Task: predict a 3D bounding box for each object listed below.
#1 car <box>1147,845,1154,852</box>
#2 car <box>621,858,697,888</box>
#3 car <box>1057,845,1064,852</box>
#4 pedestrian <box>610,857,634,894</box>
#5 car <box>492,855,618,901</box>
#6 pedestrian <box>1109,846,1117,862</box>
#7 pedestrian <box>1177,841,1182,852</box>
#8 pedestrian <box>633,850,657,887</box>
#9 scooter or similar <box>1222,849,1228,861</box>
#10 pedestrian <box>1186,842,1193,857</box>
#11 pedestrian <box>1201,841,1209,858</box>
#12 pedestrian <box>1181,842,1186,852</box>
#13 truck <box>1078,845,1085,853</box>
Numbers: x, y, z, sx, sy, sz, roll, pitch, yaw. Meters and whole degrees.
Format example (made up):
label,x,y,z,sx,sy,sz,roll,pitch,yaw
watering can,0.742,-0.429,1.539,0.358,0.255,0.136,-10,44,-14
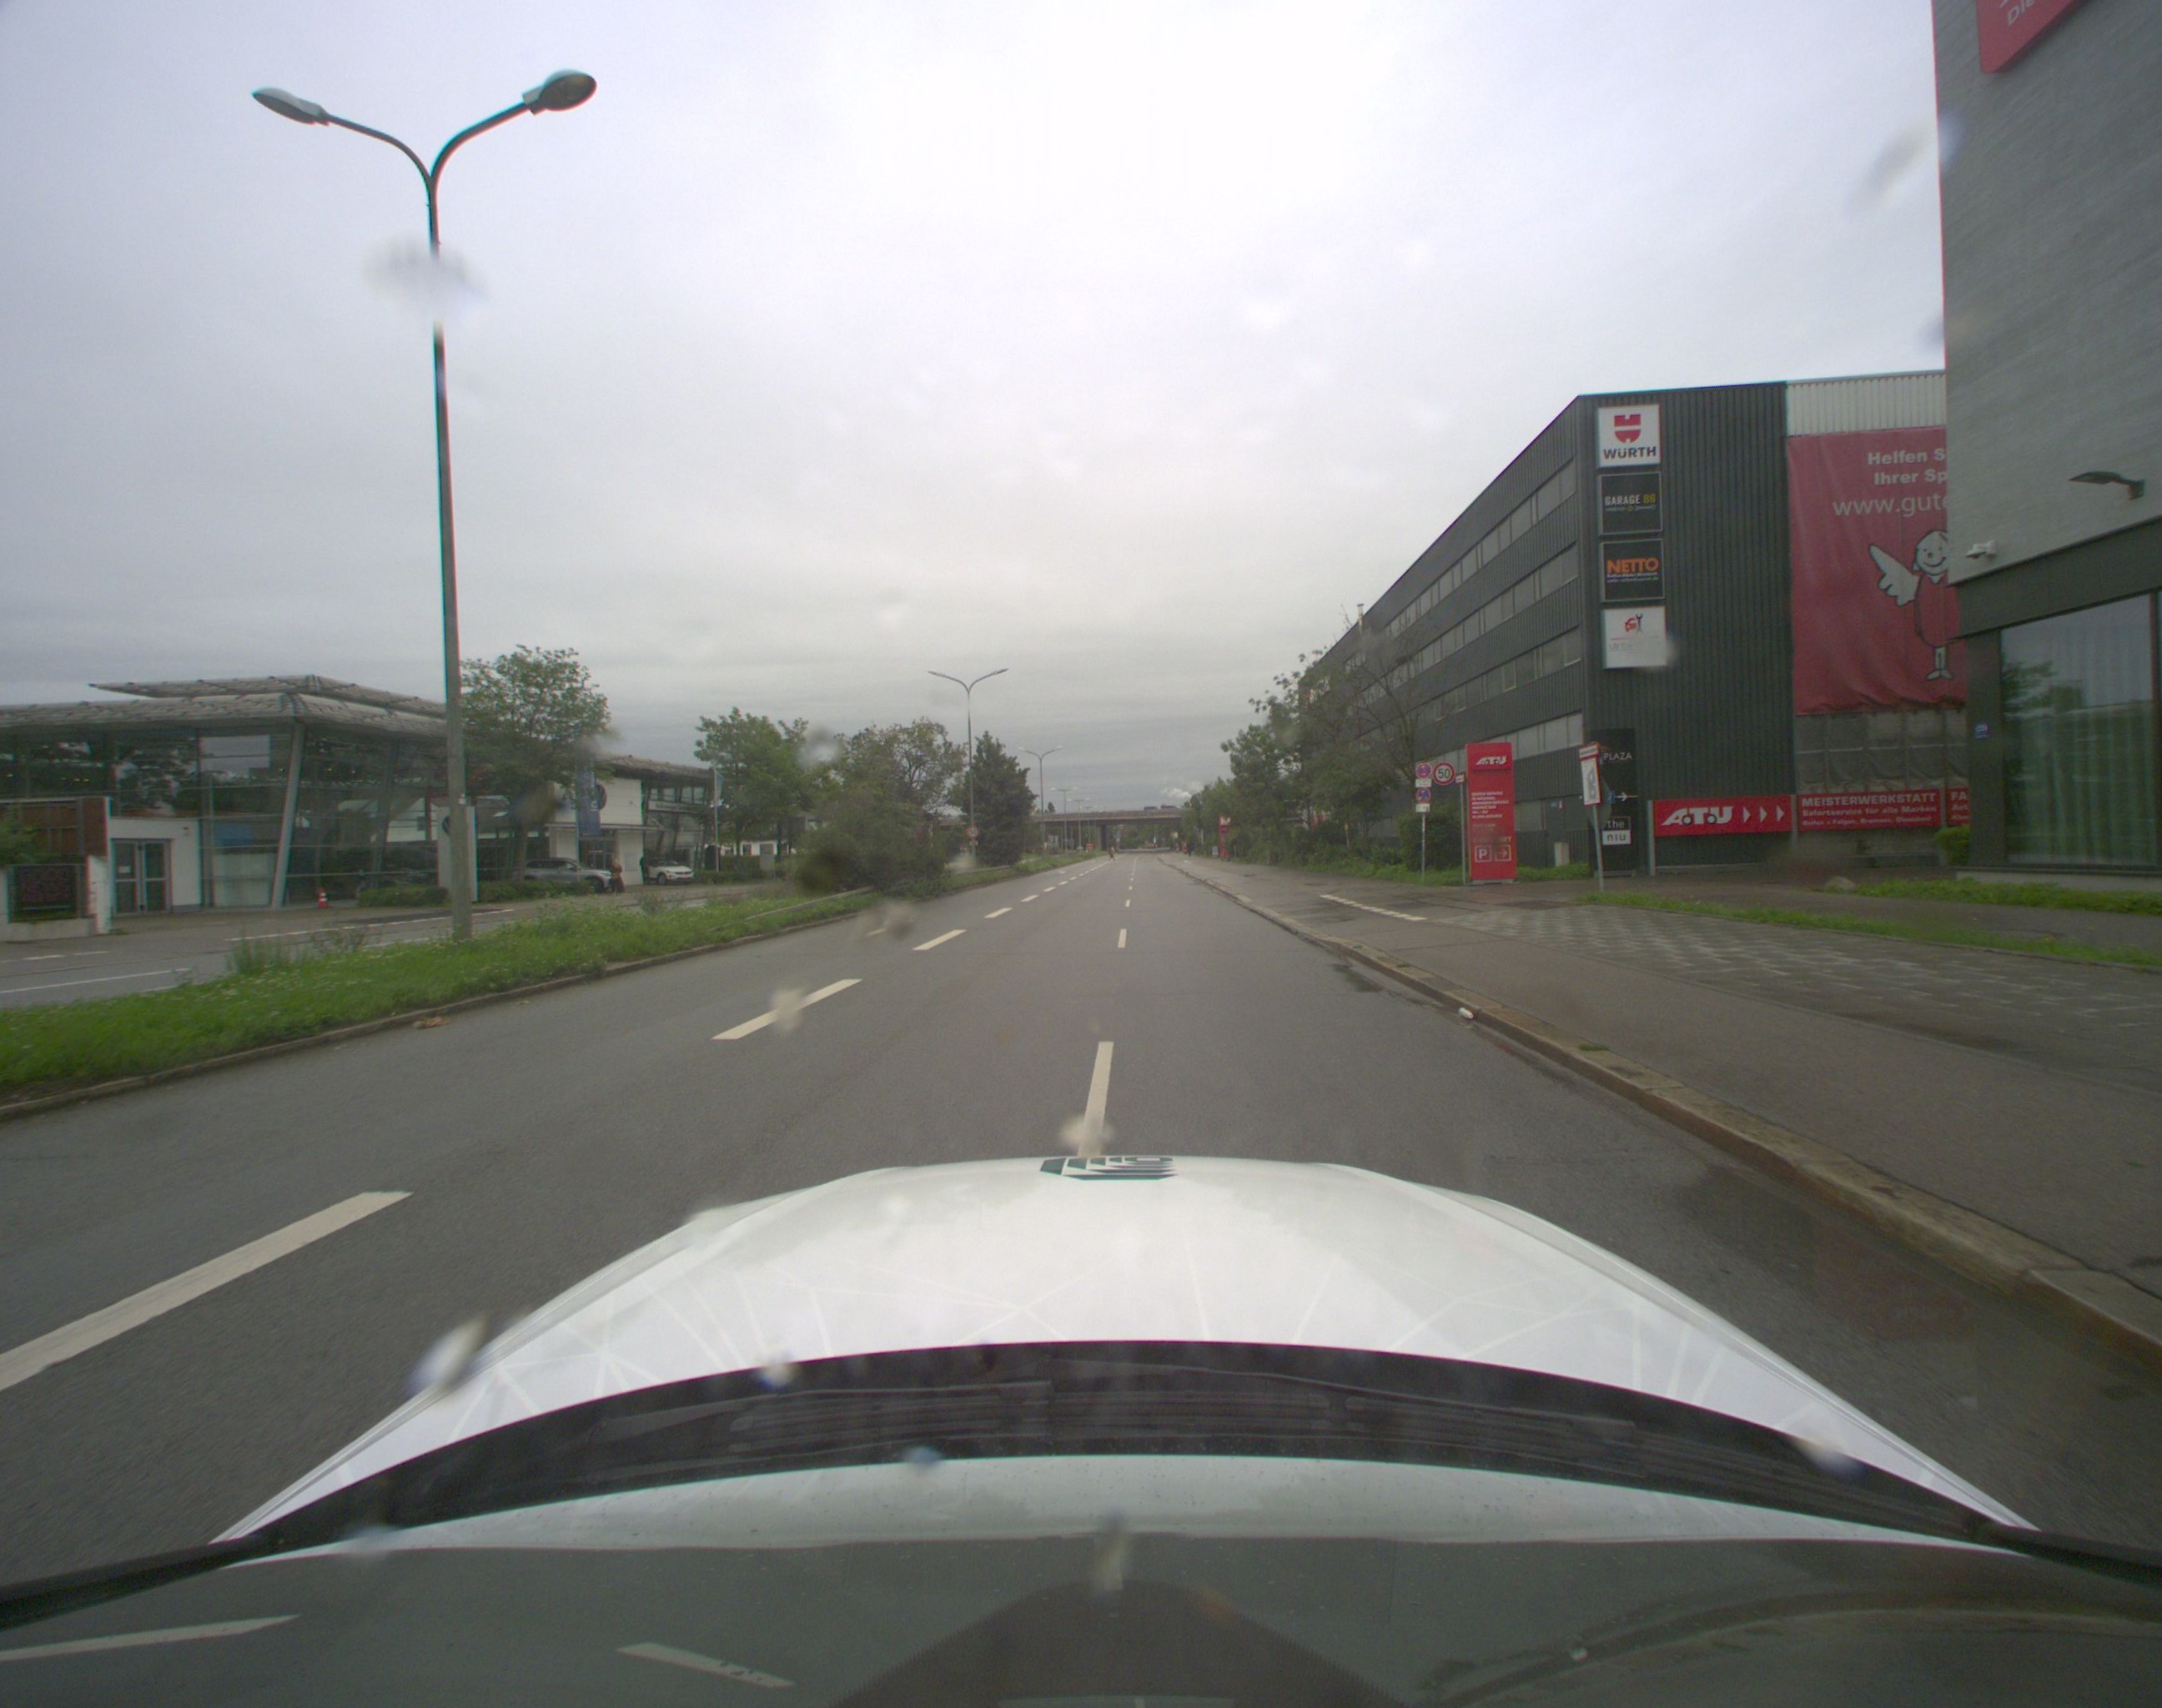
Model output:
label,x,y,z,sx,sy,sz,roll,pitch,yaw
car,19.588,-1.522,229.333,1.803,2.013,3.839,-1,1,5
car,-24.804,1.118,47.856,3.950,1.509,1.812,-3,0,25
car,-6.417,-1.780,254.609,1.986,2.013,4.001,-3,0,1
pedestrian,-21.104,0.987,37.422,0.634,1.610,0.622,-3,0,3
car,-25.028,1.094,38.947,4.647,1.842,1.789,-3,0,-20
pedestrian,3.324,-0.010,84.296,0.656,1.617,0.693,-3,0,9
pedestrian,14.976,-1.099,123.867,0.686,1.617,0.663,-3,0,3
pedestrian,-24.664,0.800,46.064,0.711,2.013,0.880,-3,0,3
scooter or similar,12.157,0.085,68.677,0.303,1.004,1.220,-3,0,1
pedestrian,13.891,-0.576,104.531,0.686,1.876,0.663,-3,0,3
pedestrian,13.986,-0.492,91.904,0.686,1.876,0.663,-3,0,3
pedestrian,16.013,-1.119,126.979,0.686,1.617,0.663,-3,0,3
truck,0.127,-1.404,235.968,1.986,2.013,4.358,-3,0,1
